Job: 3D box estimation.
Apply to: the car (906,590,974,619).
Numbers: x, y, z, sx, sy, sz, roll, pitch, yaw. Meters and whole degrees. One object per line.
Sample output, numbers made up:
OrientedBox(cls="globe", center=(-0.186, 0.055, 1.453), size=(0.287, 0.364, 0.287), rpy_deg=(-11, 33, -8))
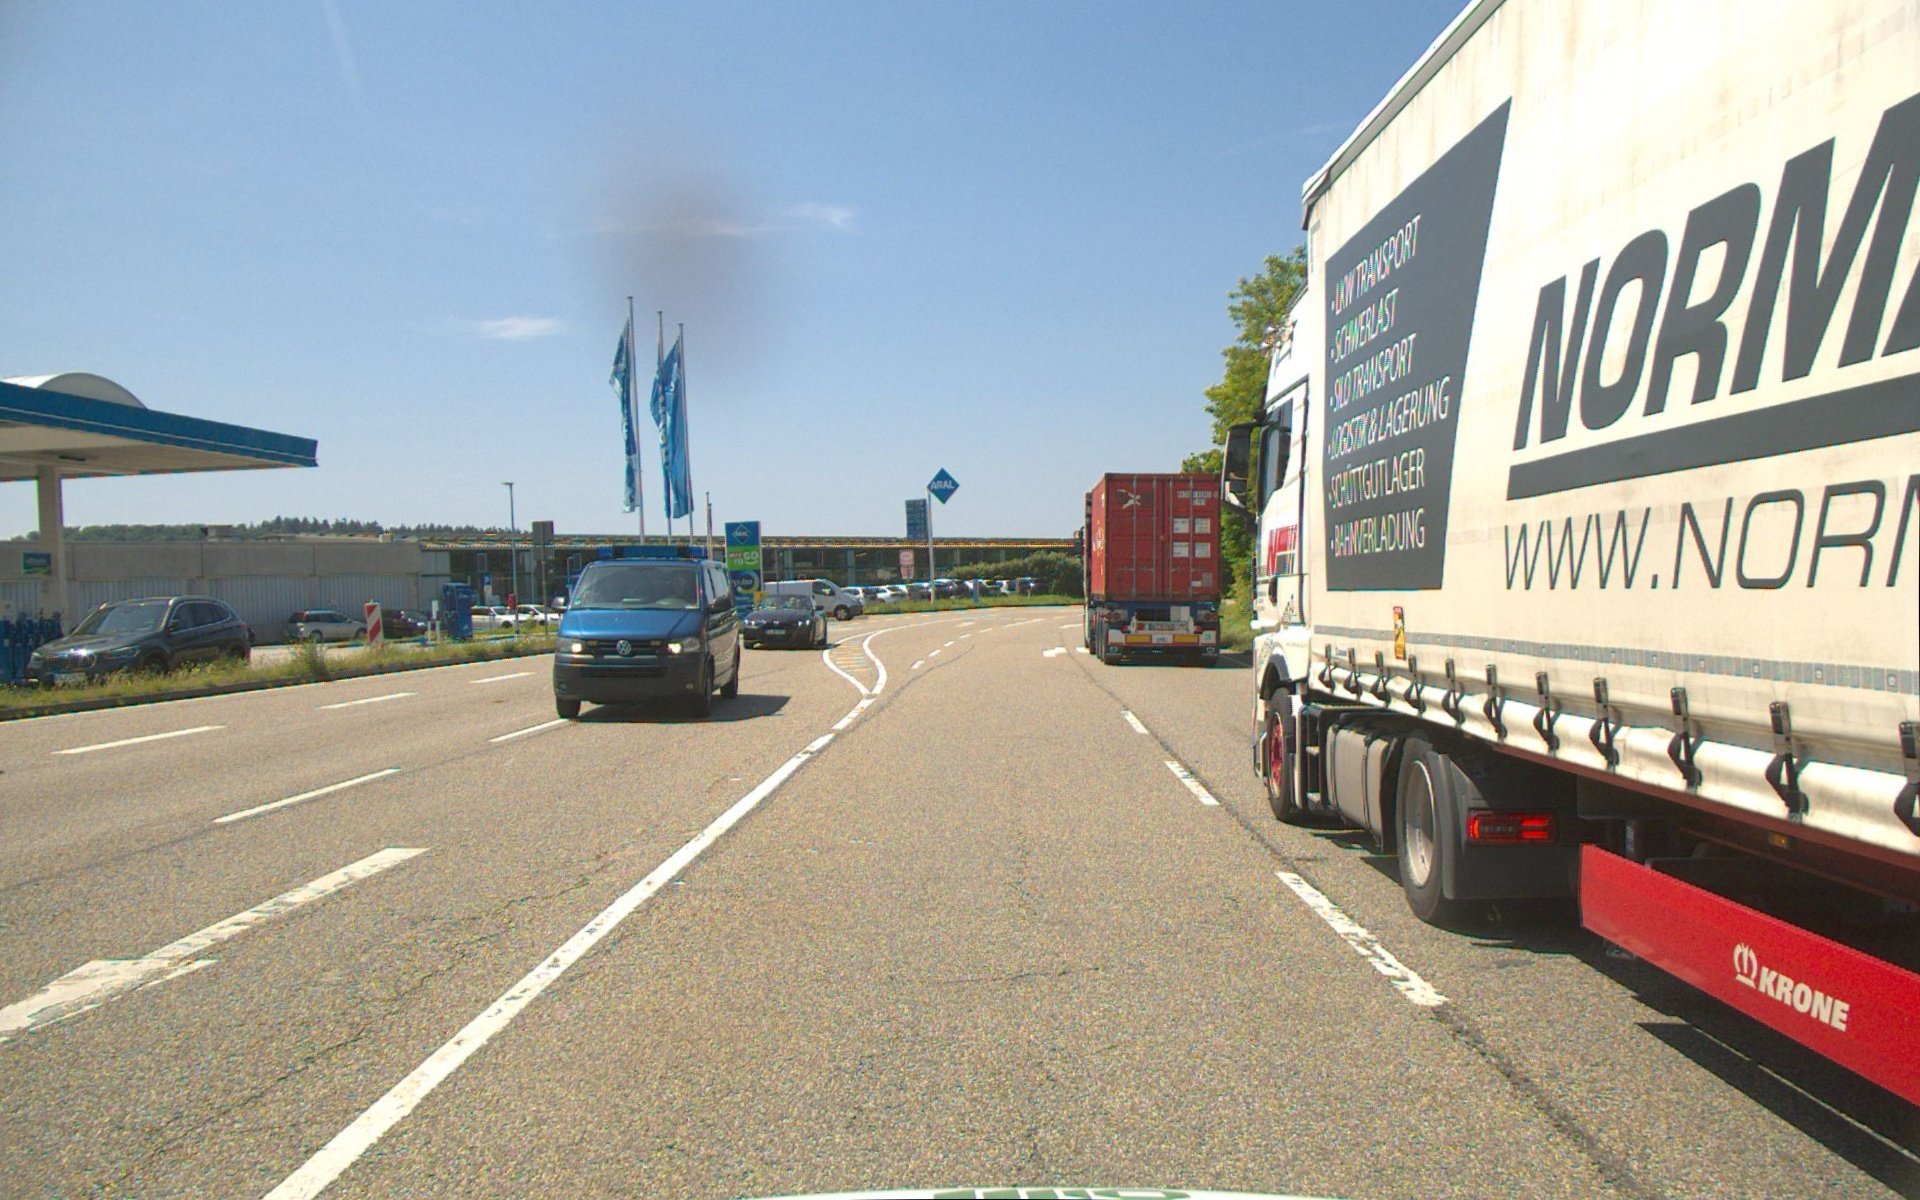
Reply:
OrientedBox(cls="car", center=(-1.278, 0.310, 104.954), size=(3.913, 1.780, 1.996), rpy_deg=(-1, -1, 31))

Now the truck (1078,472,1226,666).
OrientedBox(cls="truck", center=(4.377, -0.685, 40.271), size=(2.592, 3.872, 13.365), rpy_deg=(2, 1, 3))

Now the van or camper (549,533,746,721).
OrientedBox(cls="van or camper", center=(-3.963, 0.316, 21.829), size=(1.800, 2.175, 5.340), rpy_deg=(0, 0, -2))

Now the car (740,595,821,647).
OrientedBox(cls="car", center=(-4.597, 0.515, 42.936), size=(1.811, 1.293, 4.174), rpy_deg=(0, 0, -2))

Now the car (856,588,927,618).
OrientedBox(cls="car", center=(-4.179, 0.175, 100.897), size=(3.913, 1.780, 1.930), rpy_deg=(0, 0, 31))

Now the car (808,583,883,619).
OrientedBox(cls="car", center=(-6.653, 0.045, 96.270), size=(3.911, 2.049, 1.997), rpy_deg=(0, 0, 29))

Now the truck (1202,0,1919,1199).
OrientedBox(cls="truck", center=(3.390, -0.611, 5.036), size=(2.912, 4.165, 17.634), rpy_deg=(0, -1, 1))

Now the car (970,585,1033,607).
OrientedBox(cls="car", center=(2.887, -0.276, 113.866), size=(3.910, 1.386, 1.818), rpy_deg=(-2, 0, 28))

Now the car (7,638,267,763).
OrientedBox(cls="car", center=(-13.369, 1.568, 27.218), size=(1.790, 1.749, 4.571), rpy_deg=(-1, 0, 3))

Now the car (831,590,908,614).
OrientedBox(cls="car", center=(-5.351, 0.128, 98.002), size=(4.156, 1.383, 1.997), rpy_deg=(0, -1, 29))

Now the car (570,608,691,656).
OrientedBox(cls="car", center=(-12.381, 1.205, 62.392), size=(1.830, 1.742, 4.504), rpy_deg=(-1, -1, 34))

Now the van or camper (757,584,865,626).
OrientedBox(cls="van or camper", center=(-6.920, 0.253, 77.159), size=(4.745, 1.938, 1.905), rpy_deg=(0, -1, 4))

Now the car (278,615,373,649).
OrientedBox(cls="car", center=(-30.030, 1.498, 78.351), size=(1.724, 1.467, 3.887), rpy_deg=(-1, 0, 34))
